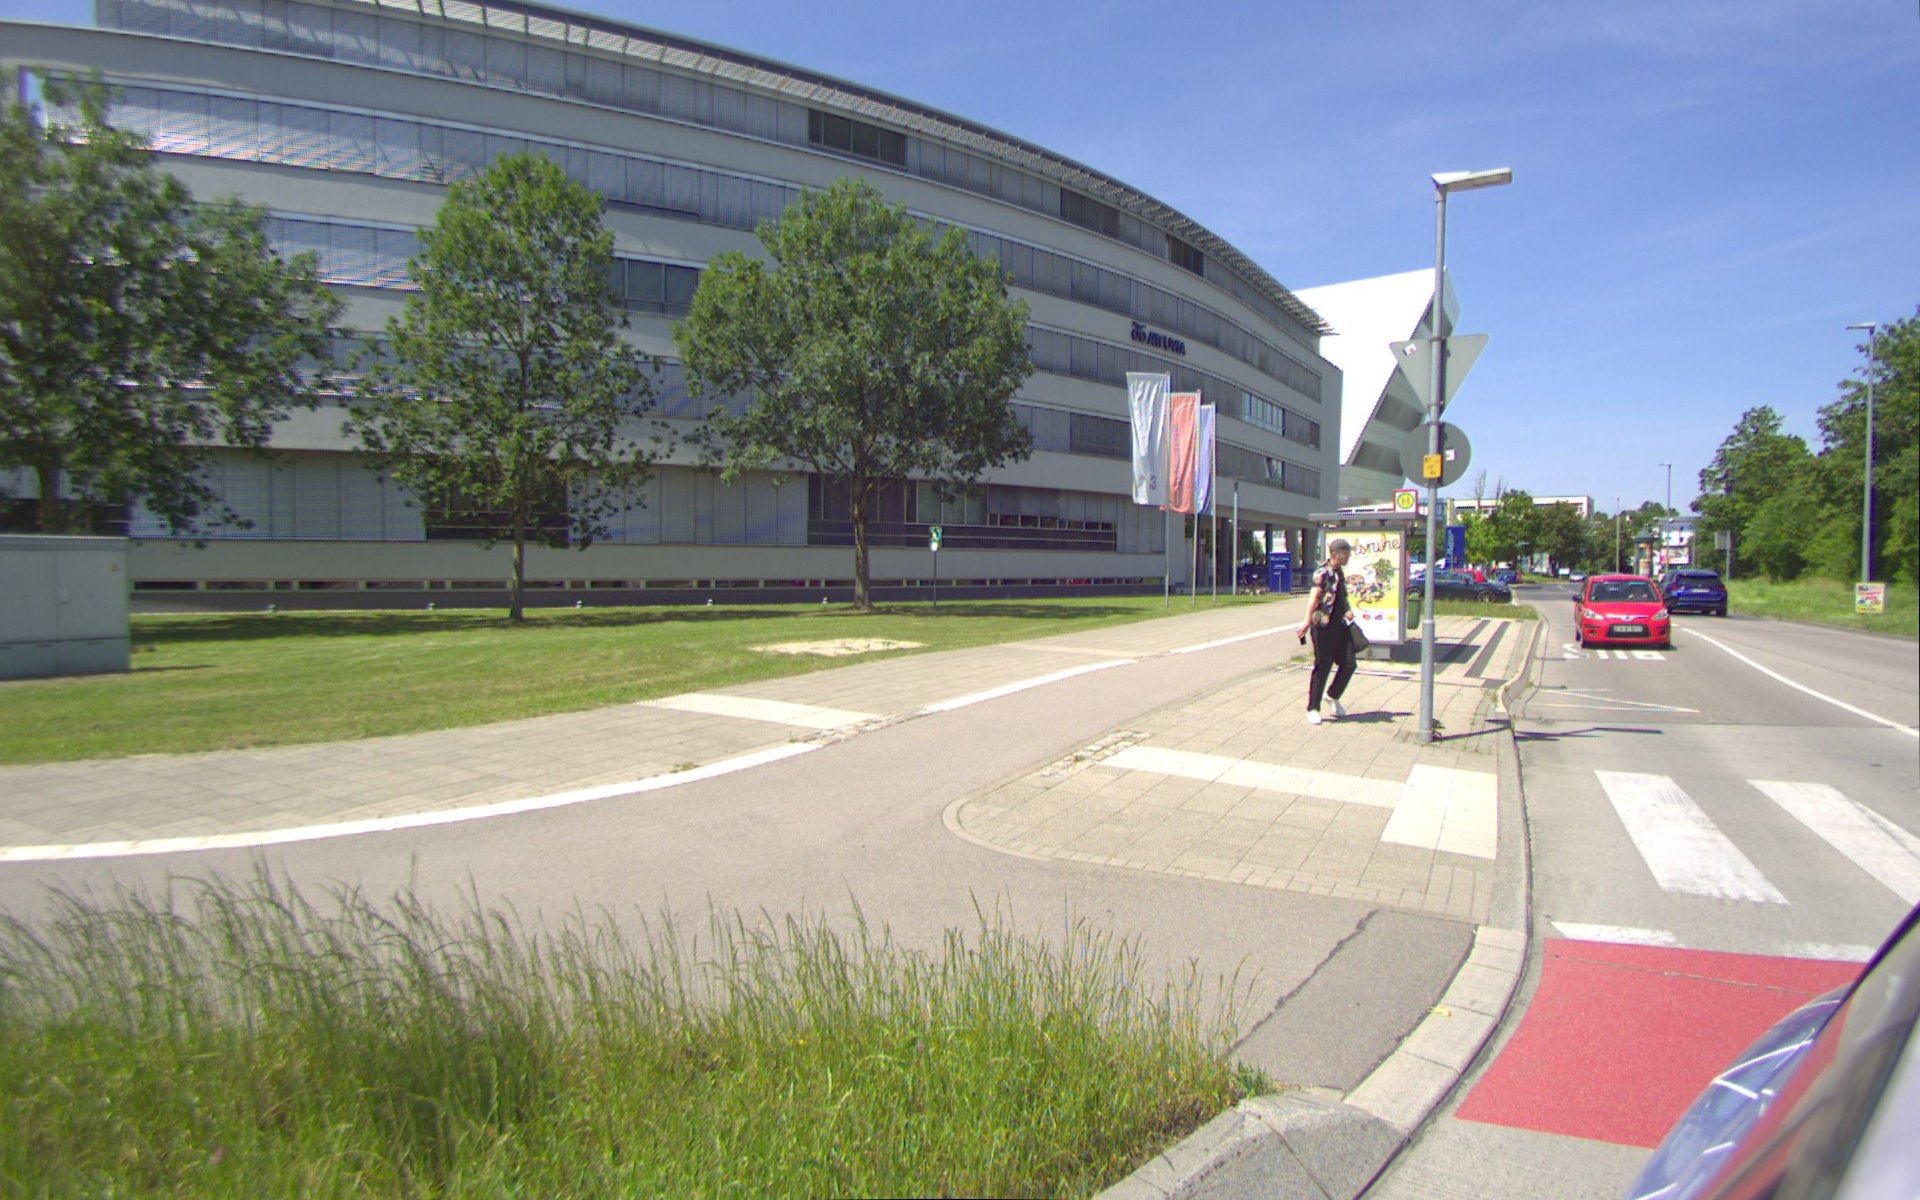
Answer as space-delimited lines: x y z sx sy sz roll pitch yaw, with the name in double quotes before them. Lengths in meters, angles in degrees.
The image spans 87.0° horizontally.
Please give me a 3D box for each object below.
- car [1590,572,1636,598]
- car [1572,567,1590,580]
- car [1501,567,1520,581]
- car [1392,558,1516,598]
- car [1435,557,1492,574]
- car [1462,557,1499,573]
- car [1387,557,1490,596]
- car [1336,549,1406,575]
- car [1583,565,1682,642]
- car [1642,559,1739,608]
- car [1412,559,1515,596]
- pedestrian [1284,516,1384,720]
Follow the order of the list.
"car" 40.428 -0.922 62.734 1.982 1.497 4.248 2 2 28
"car" 83.882 -3.629 136.775 1.984 1.651 3.957 0 2 31
"car" 61.395 -2.927 112.856 1.786 1.517 3.962 0 2 28
"car" 20.721 -0.948 42.551 4.542 1.449 1.810 3 3 29
"car" 65.641 -4.489 131.992 6.460 2.176 2.137 0 2 36
"car" 69.981 -4.705 136.033 4.183 2.000 1.682 0 2 36
"car" 21.384 -1.085 45.246 3.969 1.675 1.819 2 3 32
"car" 45.583 -4.188 112.302 6.934 2.695 2.224 0 2 39
"car" 14.607 0.029 22.119 1.650 1.522 3.321 0 2 31
"car" 26.132 -0.583 36.366 1.979 1.616 4.285 2 1 25
"car" 24.253 -1.121 48.768 4.300 1.582 1.767 3 3 31
"pedestrian" 3.597 0.139 9.710 0.704 1.844 0.818 3 3 30
